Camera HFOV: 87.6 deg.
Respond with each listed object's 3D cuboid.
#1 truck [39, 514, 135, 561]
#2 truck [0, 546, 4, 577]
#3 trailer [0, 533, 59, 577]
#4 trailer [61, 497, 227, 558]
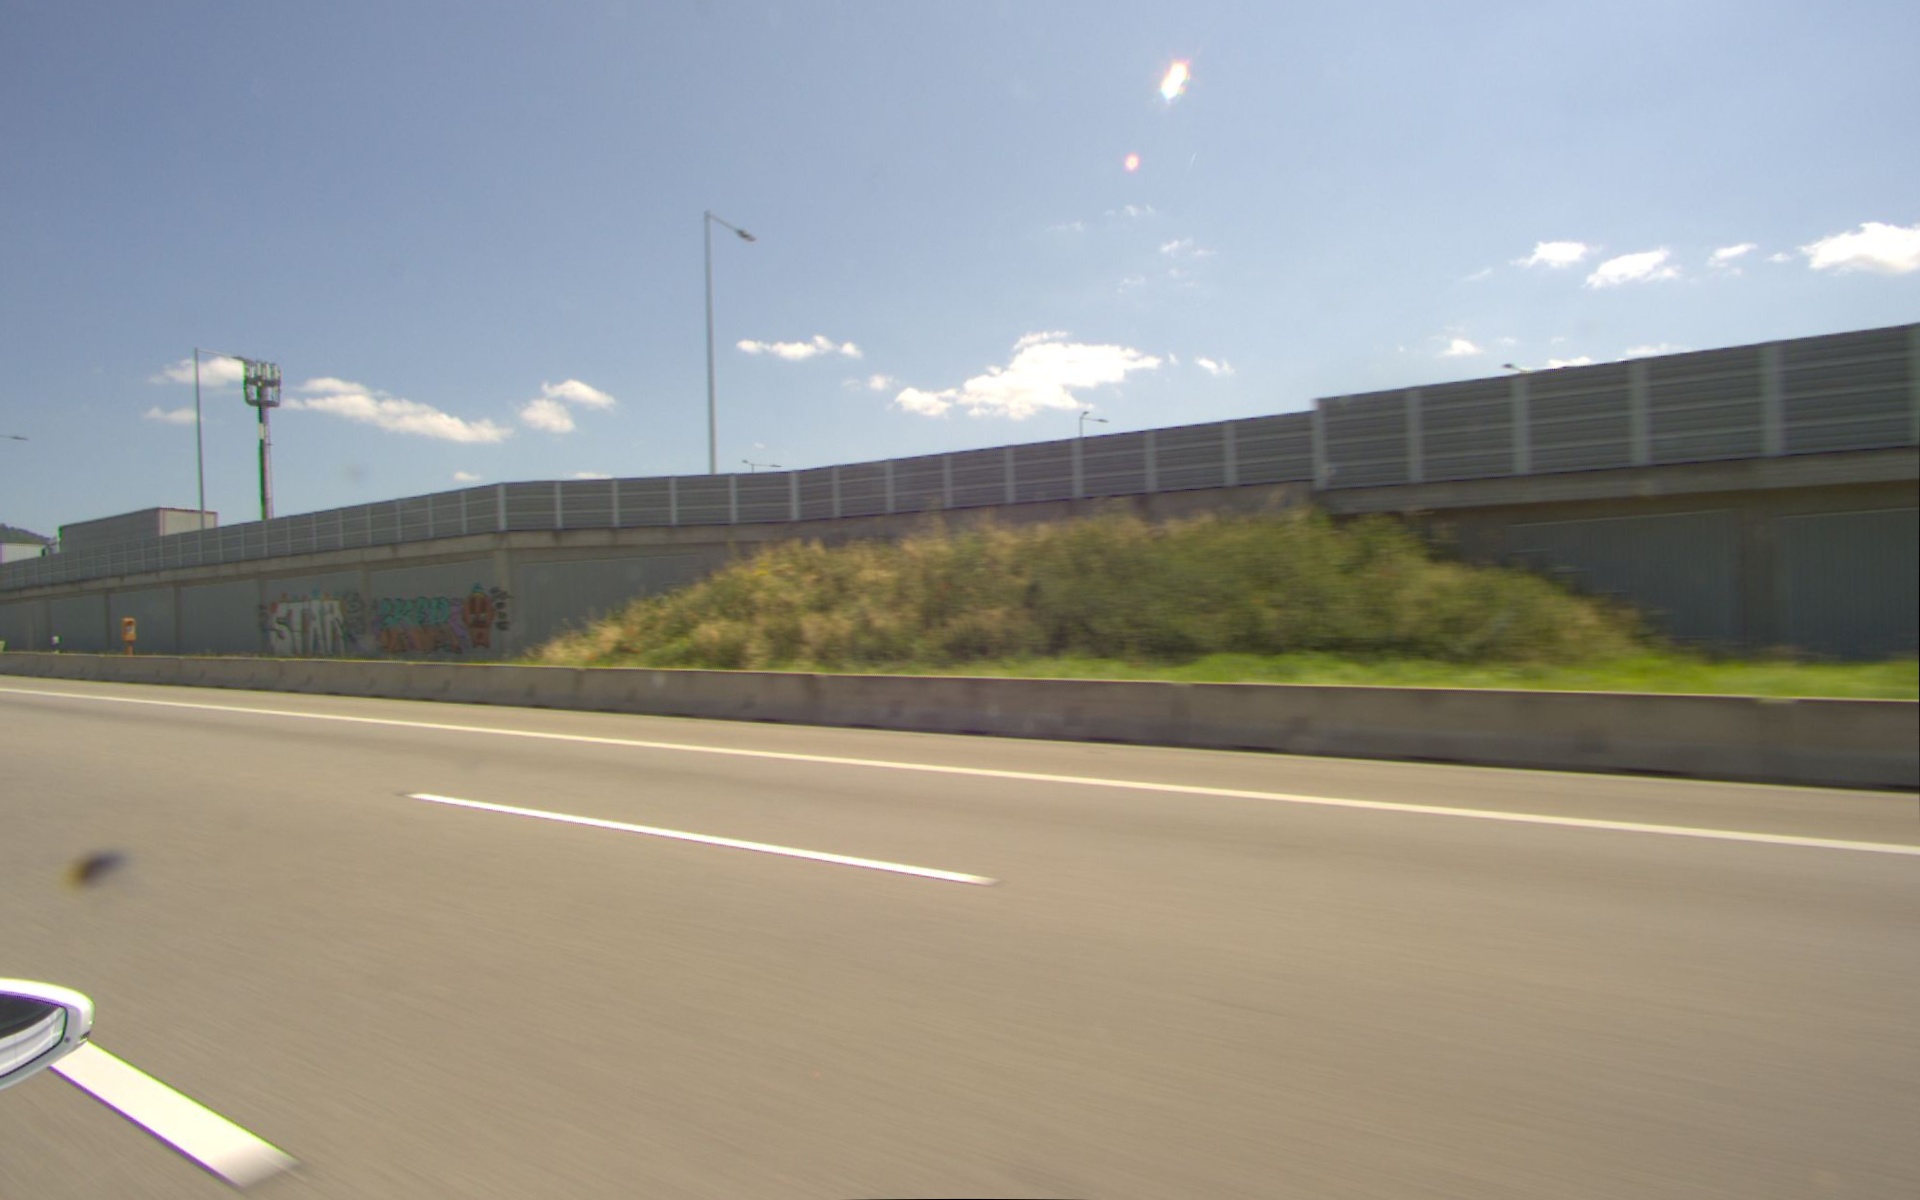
[{"bbox_3d":[-52.480,-3.694,60.192,5.950,2.258,2.719,-2,-2,32],"label":"truck"},{"bbox_3d":[-72.489,-2.715,72.694,7.183,2.232,2.704,-2,-2,32],"label":"truck"},{"bbox_3d":[-66.295,-2.911,68.854,13.819,2.252,2.715,-2,-2,32],"label":"trailer"},{"bbox_3d":[-45.963,-3.923,56.150,14.319,2.252,2.715,-2,-2,32],"label":"trailer"}]
